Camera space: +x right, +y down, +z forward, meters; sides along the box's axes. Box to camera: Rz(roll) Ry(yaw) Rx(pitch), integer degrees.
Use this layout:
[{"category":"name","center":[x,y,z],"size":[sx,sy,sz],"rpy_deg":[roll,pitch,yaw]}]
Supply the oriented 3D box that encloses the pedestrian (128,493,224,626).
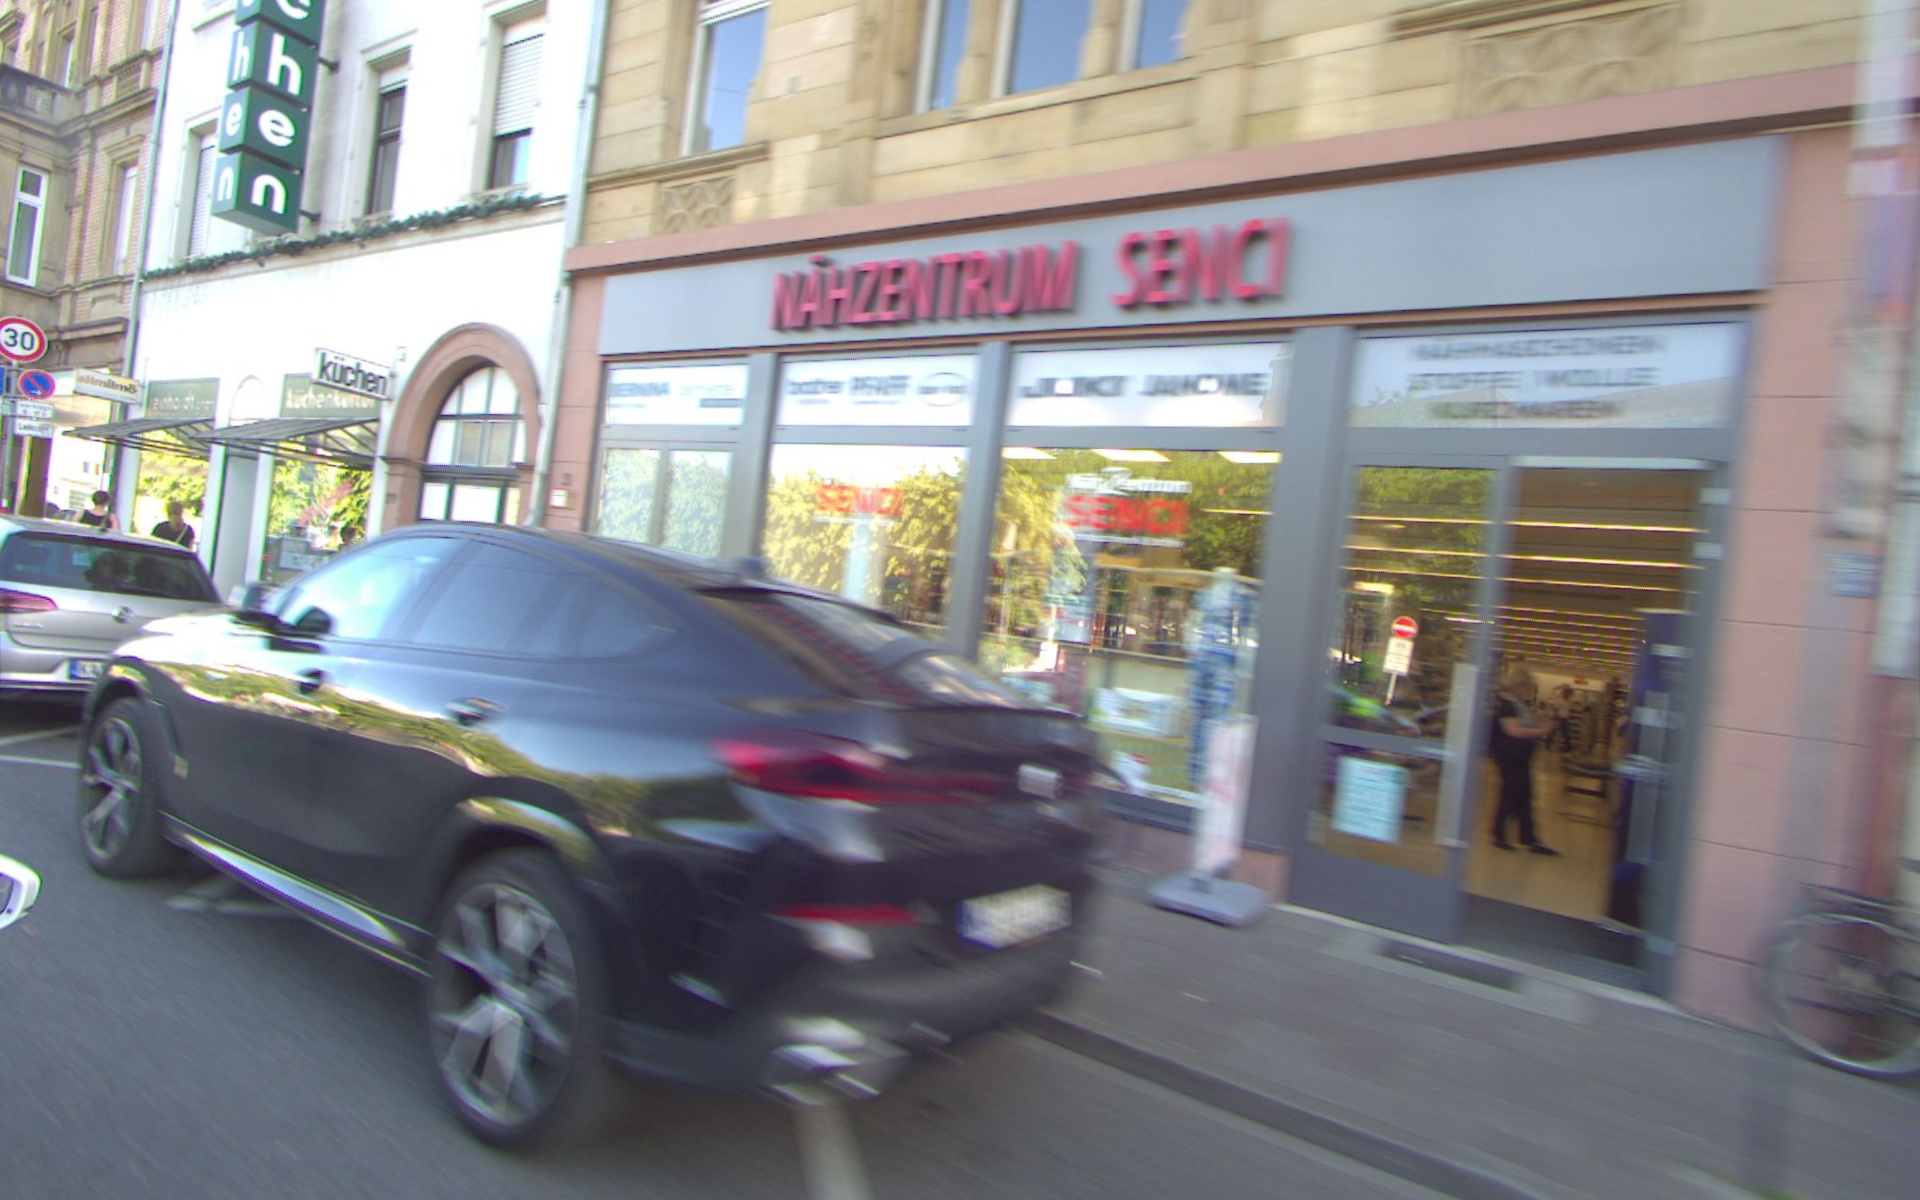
[{"category":"pedestrian","center":[-10.643,-0.534,13.659],"size":[0.580,1.696,0.801],"rpy_deg":[7,2,35]}]

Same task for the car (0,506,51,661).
[{"category":"car","center":[-11.139,-0.405,10.366],"size":[3.768,1.466,1.611],"rpy_deg":[7,-2,33]}]

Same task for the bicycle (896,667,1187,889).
[{"category":"bicycle","center":[0.495,1.128,6.774],"size":[1.910,1.099,0.358],"rpy_deg":[7,2,32]}]

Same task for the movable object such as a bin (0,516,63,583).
[{"category":"movable object such as a bin","center":[-16.179,-0.870,17.488],"size":[0.616,1.056,0.680],"rpy_deg":[7,1,33]}]

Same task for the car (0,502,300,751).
[{"category":"car","center":[-7.209,0.045,7.828],"size":[4.116,1.504,1.842],"rpy_deg":[7,-2,33]}]

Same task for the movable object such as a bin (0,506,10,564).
[{"category":"movable object such as a bin","center":[-18.340,-1.251,18.811],"size":[0.621,1.065,0.644],"rpy_deg":[7,1,32]}]

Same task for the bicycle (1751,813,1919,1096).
[{"category":"bicycle","center":[4.518,1.623,4.212],"size":[1.761,1.058,0.358],"rpy_deg":[7,2,32]}]

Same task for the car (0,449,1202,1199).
[{"category":"car","center":[-1.735,0.531,4.087],"size":[4.745,1.745,1.977],"rpy_deg":[7,-2,33]}]

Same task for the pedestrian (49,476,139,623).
[{"category":"pedestrian","center":[-11.137,-0.643,12.939],"size":[0.510,1.787,0.620],"rpy_deg":[7,0,35]}]

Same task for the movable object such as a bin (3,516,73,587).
[{"category":"movable object such as a bin","center":[-15.629,-0.819,17.057],"size":[0.616,1.110,0.680],"rpy_deg":[7,1,33]}]
